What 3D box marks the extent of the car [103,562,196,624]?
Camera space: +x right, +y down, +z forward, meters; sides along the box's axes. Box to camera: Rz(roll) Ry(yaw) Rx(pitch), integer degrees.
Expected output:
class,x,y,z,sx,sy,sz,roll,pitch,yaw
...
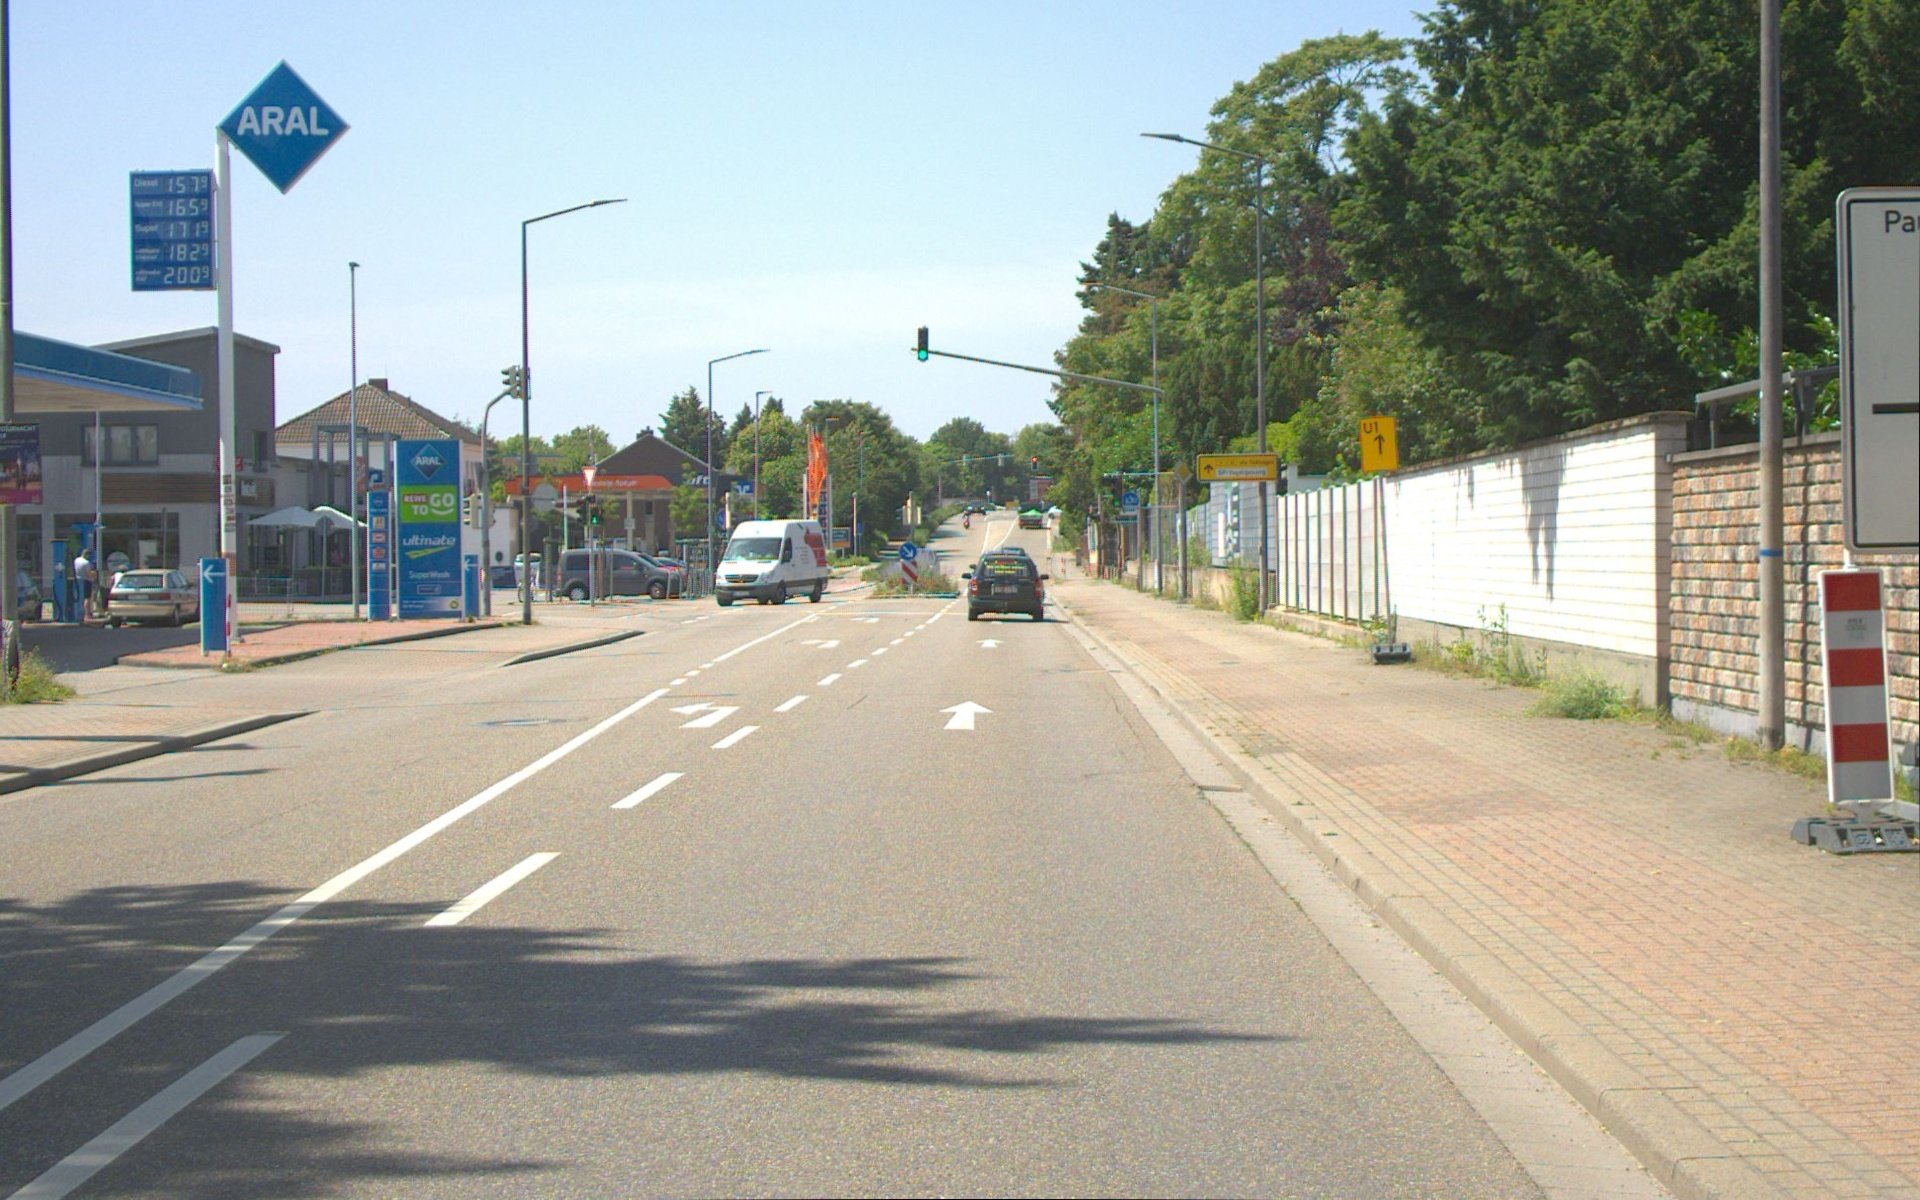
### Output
class,x,y,z,sx,sy,sz,roll,pitch,yaw
car,-20.163,-0.192,85.639,1.617,1.415,3.712,-2,1,-4

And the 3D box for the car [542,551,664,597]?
class,x,y,z,sx,sy,sz,roll,pitch,yaw
car,-12.012,-0.884,115.902,3.986,1.503,1.555,-1,1,-2

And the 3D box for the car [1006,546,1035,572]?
class,x,y,z,sx,sy,sz,roll,pitch,yaw
car,3.502,-2.370,198.881,1.665,1.450,3.472,-1,1,1

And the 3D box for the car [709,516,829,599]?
class,x,y,z,sx,sy,sz,roll,pitch,yaw
car,-5.878,-1.288,106.625,1.995,2.414,5.943,1,0,14

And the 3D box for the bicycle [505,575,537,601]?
class,x,y,z,sx,sy,sz,roll,pitch,yaw
bicycle,-13.666,-0.380,107.042,0.612,0.790,2.575,-1,1,1

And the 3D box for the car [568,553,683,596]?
class,x,y,z,sx,sy,sz,roll,pitch,yaw
car,-11.999,-0.923,123.462,3.986,1.503,1.555,-1,1,-2

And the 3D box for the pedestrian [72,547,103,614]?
class,x,y,z,sx,sy,sz,roll,pitch,yaw
pedestrian,-21.958,-0.494,86.502,0.610,1.685,0.709,-1,1,-25

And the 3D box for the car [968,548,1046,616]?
class,x,y,z,sx,sy,sz,roll,pitch,yaw
car,1.038,-0.419,76.354,1.665,1.450,3.472,-1,1,1
